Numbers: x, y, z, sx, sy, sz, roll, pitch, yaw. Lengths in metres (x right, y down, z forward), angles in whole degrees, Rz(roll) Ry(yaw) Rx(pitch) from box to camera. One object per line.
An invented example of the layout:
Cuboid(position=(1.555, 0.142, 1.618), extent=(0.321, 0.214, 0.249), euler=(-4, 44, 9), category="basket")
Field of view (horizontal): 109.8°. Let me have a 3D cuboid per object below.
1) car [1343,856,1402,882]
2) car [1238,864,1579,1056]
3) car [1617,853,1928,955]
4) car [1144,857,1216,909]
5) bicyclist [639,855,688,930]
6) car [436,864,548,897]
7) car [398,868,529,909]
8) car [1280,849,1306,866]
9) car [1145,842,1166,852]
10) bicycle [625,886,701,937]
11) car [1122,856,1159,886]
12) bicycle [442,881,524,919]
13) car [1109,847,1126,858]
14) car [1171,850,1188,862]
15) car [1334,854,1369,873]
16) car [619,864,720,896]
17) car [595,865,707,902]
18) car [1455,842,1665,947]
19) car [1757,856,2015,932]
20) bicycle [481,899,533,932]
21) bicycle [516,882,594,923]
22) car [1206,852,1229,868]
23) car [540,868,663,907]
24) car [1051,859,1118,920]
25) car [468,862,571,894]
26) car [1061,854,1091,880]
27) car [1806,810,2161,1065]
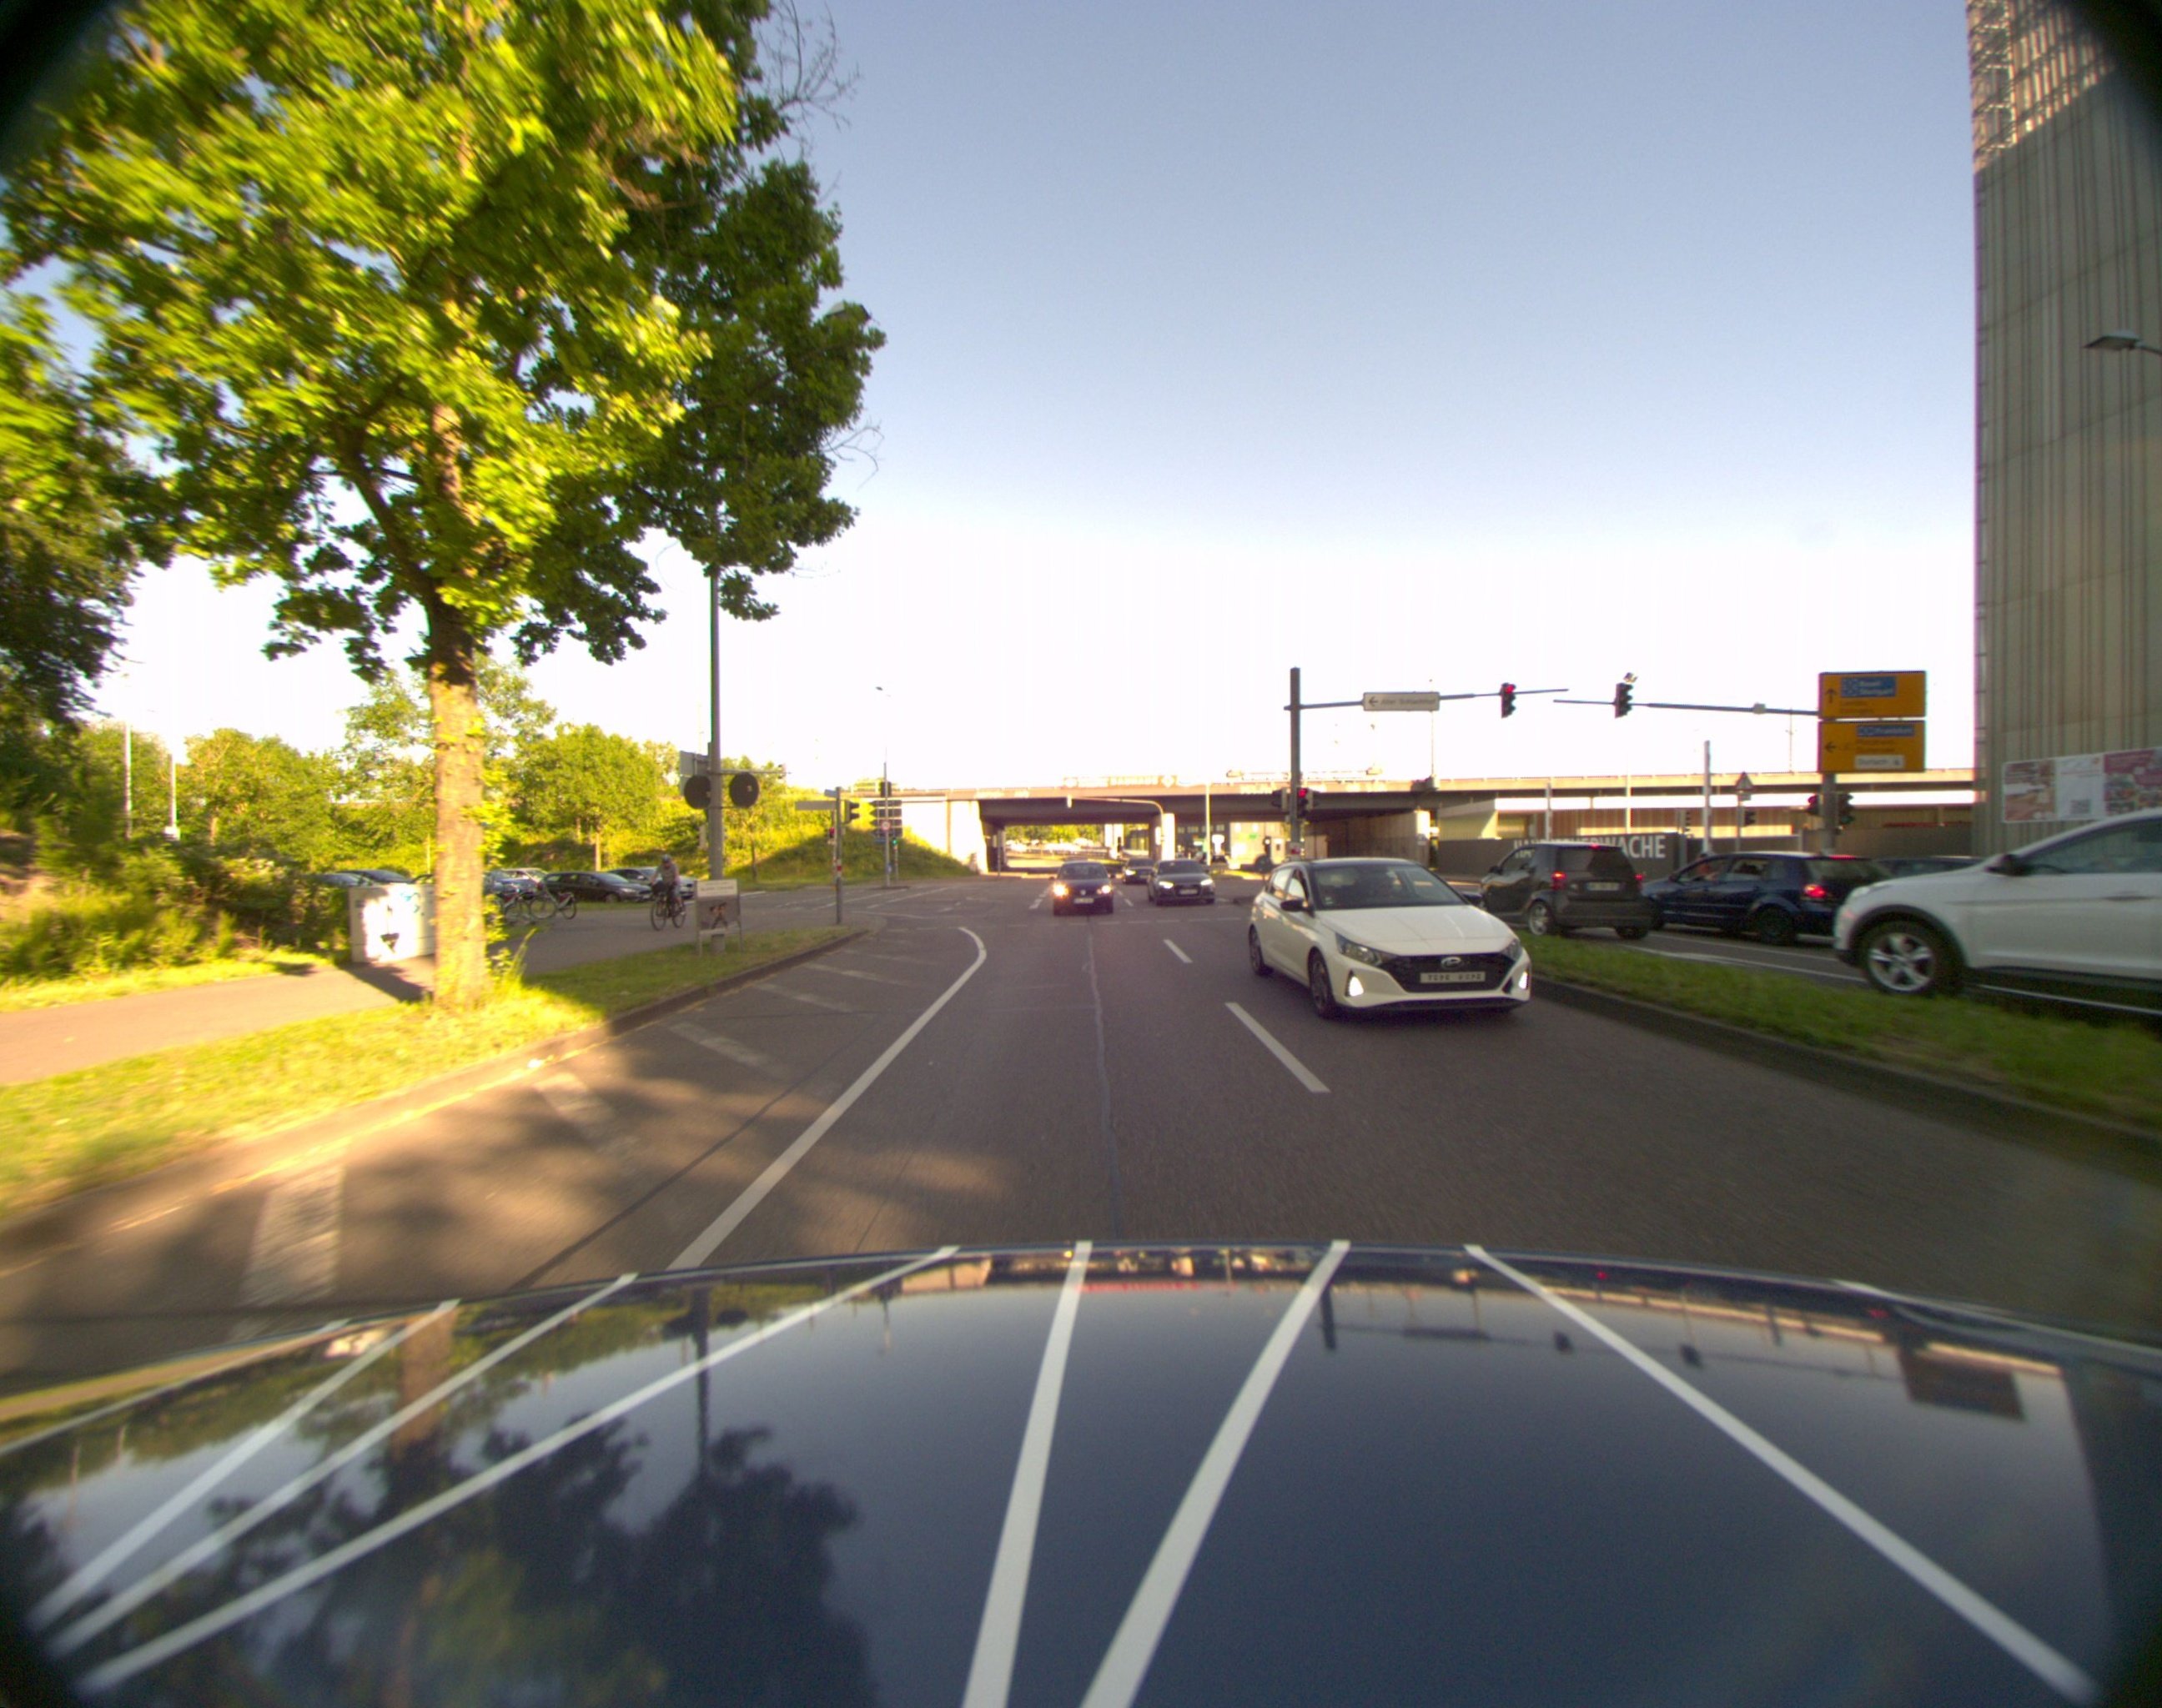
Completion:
Cuboid(position=(17.412, 0.880, 45.661), extent=(1.707, 1.433, 4.880), euler=(0, 0, 0), category="car")
Cuboid(position=(2.997, 0.864, 8.002), extent=(1.783, 1.400, 4.074), euler=(-2, 0, 0), category="car")
Cuboid(position=(11.112, 0.712, 12.633), extent=(1.707, 1.432, 3.753), euler=(0, 0, -1), category="car")
Cuboid(position=(3.080, 0.860, 24.409), extent=(1.702, 1.396, 4.364), euler=(-3, 0, 0), category="car")
Cuboid(position=(-9.268, 0.832, 16.900), extent=(0.566, 1.600, 0.865), euler=(-1, 1, 0), category="bicyclist")
Cuboid(position=(-26.904, 1.207, 34.763), extent=(3.996, 1.352, 1.495), euler=(-1, 2, 4), category="car")
Cuboid(position=(-25.944, 1.432, 32.012), extent=(3.916, 1.521, 1.842), euler=(-1, 2, -1), category="car")
Cuboid(position=(20.415, 0.341, 73.266), extent=(1.571, 1.524, 3.427), euler=(-1, 0, 0), category="car")
Cuboid(position=(14.495, -1.362, 147.780), extent=(3.897, 1.645, 1.723), euler=(-2, 1, 5), category="car")
Cuboid(position=(-9.273, 1.244, 16.949), extent=(0.573, 0.986, 2.046), euler=(-1, 0, 0), category="bicycle")
Cuboid(position=(3.188, 0.896, 41.279), extent=(1.702, 1.528, 3.946), euler=(-1, 0, 0), category="car")
Cuboid(position=(-17.844, 1.359, 22.673), extent=(2.259, 1.099, 0.700), euler=(-1, -2, 15), category="bicycle")
Cuboid(position=(6.039, -0.263, 125.907), extent=(1.816, 1.687, 3.996), euler=(-2, 1, -10), category="car")
Cuboid(position=(12.482, 0.247, 96.474), extent=(1.727, 1.531, 4.000), euler=(1, 0, 0), category="car")
Cuboid(position=(20.219, 0.690, 56.854), extent=(1.493, 1.403, 3.939), euler=(0, 0, 5), category="car")
Cuboid(position=(-20.209, 1.250, 37.407), extent=(3.995, 1.424, 1.816), euler=(-1, 2, 5), category="car")
Cuboid(position=(-19.149, 1.302, 33.931), extent=(3.995, 1.467, 1.817), euler=(-1, 2, 6), category="car")
Cuboid(position=(7.986, 0.606, 13.031), extent=(1.605, 1.571, 3.213), euler=(0, 0, 1), category="car")
Cuboid(position=(17.336, 0.775, 16.654), extent=(1.612, 1.454, 3.731), euler=(-1, 0, -2), category="car")
Cuboid(position=(-13.340, 1.404, 17.709), extent=(0.844, 0.618, 2.190), euler=(1, -1, -34), category="bicycle")
Cuboid(position=(-14.056, 1.299, 20.313), extent=(1.992, 1.046, 0.455), euler=(-1, 1, 13), category="bicycle")
Cuboid(position=(13.934, 0.575, 77.857), extent=(1.632, 1.531, 4.000), euler=(1, 0, 1), category="car")
Cuboid(position=(-19.789, 1.362, 31.453), extent=(3.995, 1.467, 1.806), euler=(-1, 2, 5), category="car")
Cuboid(position=(0.080, 0.944, 21.898), extent=(1.702, 1.474, 4.052), euler=(-2, 0, 0), category="car")
Cuboid(position=(-28.017, 1.184, 37.965), extent=(3.996, 1.424, 1.590), euler=(-1, 2, 4), category="car")
Cuboid(position=(-0.282, 0.735, 46.360), extent=(1.702, 1.478, 3.946), euler=(-1, 0, 0), category="car")
Cuboid(position=(8.018, 0.562, 5.092), extent=(1.828, 1.672, 4.658), euler=(1, 0, 0), category="car")
